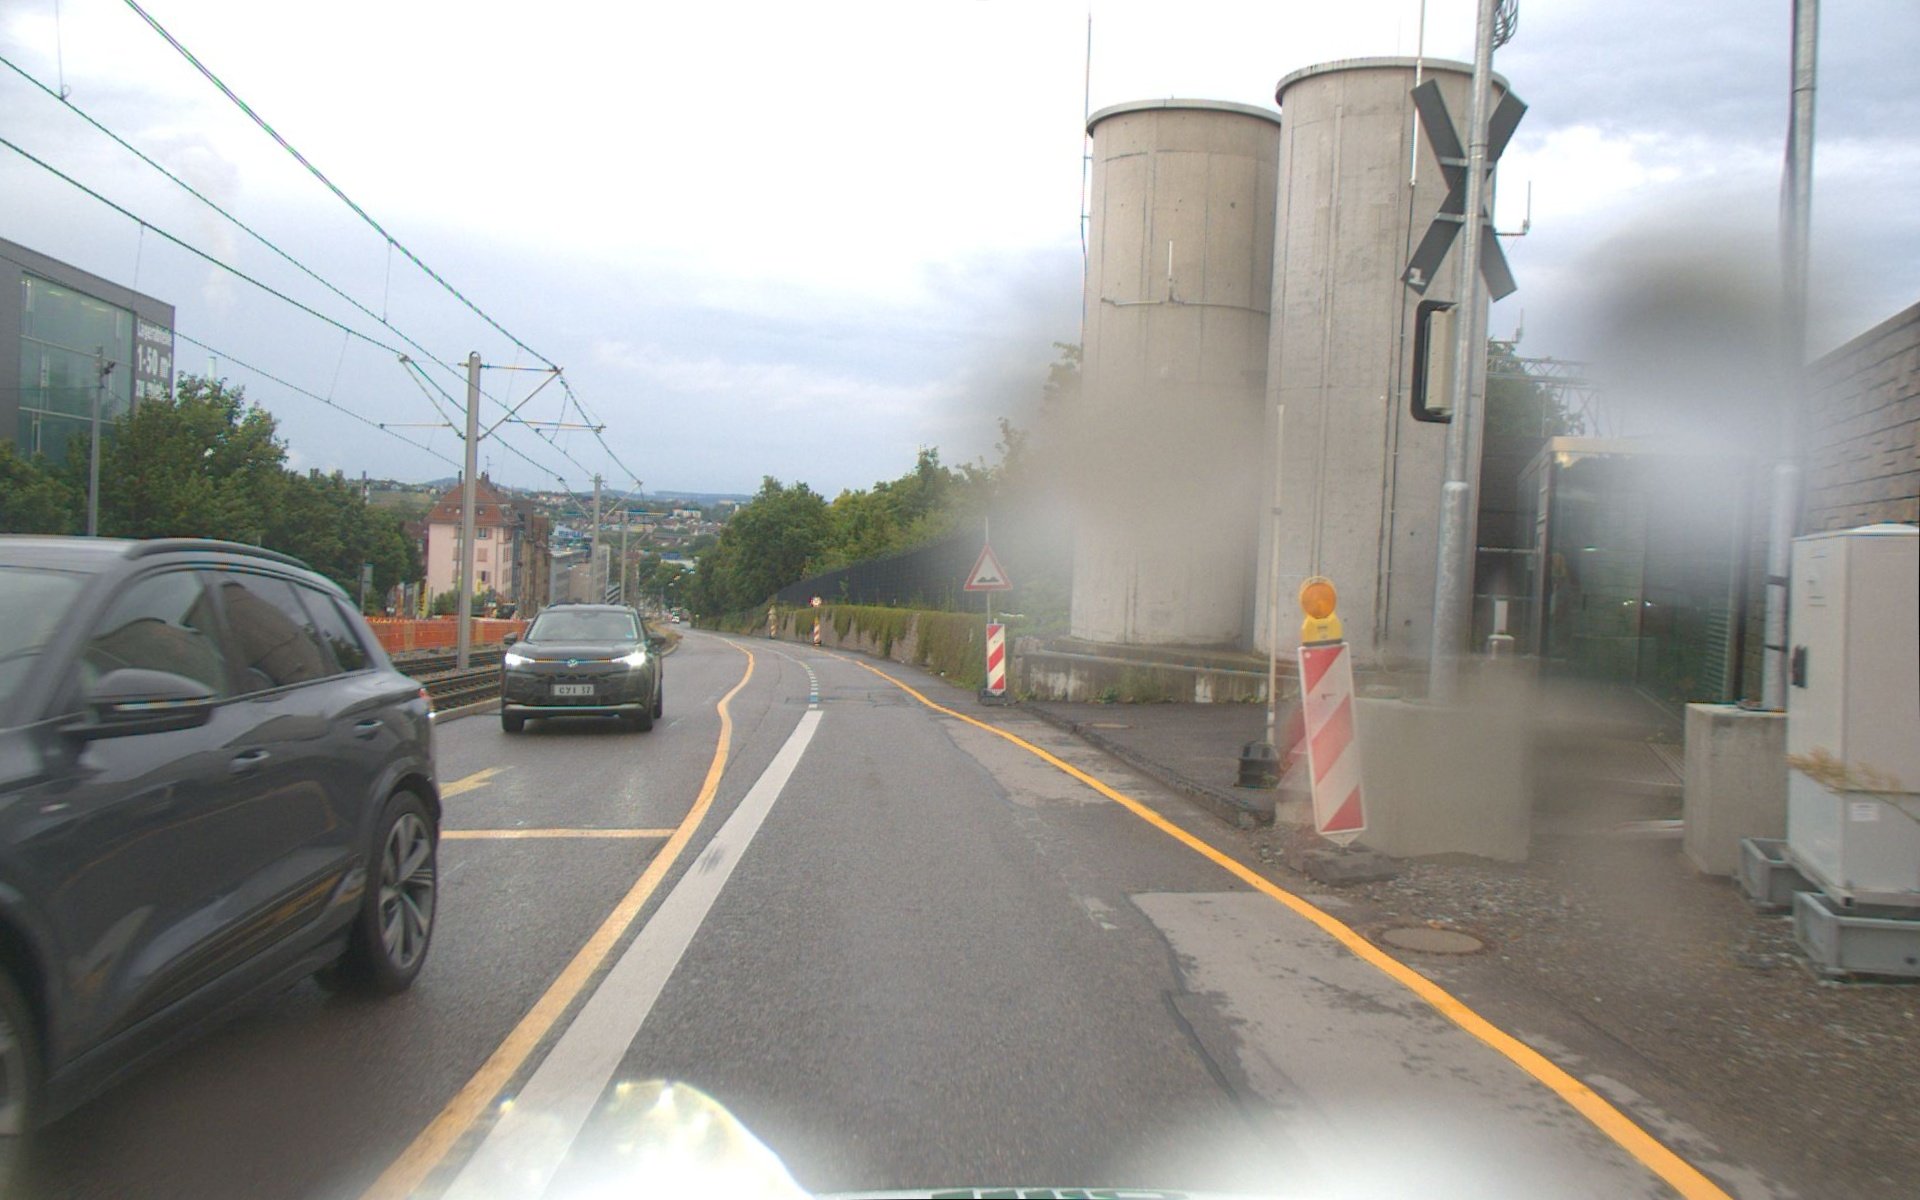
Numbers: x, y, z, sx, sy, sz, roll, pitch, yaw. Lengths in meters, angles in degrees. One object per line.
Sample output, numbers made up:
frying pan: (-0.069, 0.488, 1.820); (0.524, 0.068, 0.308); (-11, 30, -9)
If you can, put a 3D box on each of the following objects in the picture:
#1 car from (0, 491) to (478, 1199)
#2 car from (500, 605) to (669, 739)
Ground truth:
car: (-2.980, 0.606, 4.616); (1.953, 1.707, 4.488); (1, 0, 0)
car: (-4.626, 0.824, 20.868); (1.755, 1.489, 3.944); (-1, 0, -8)
